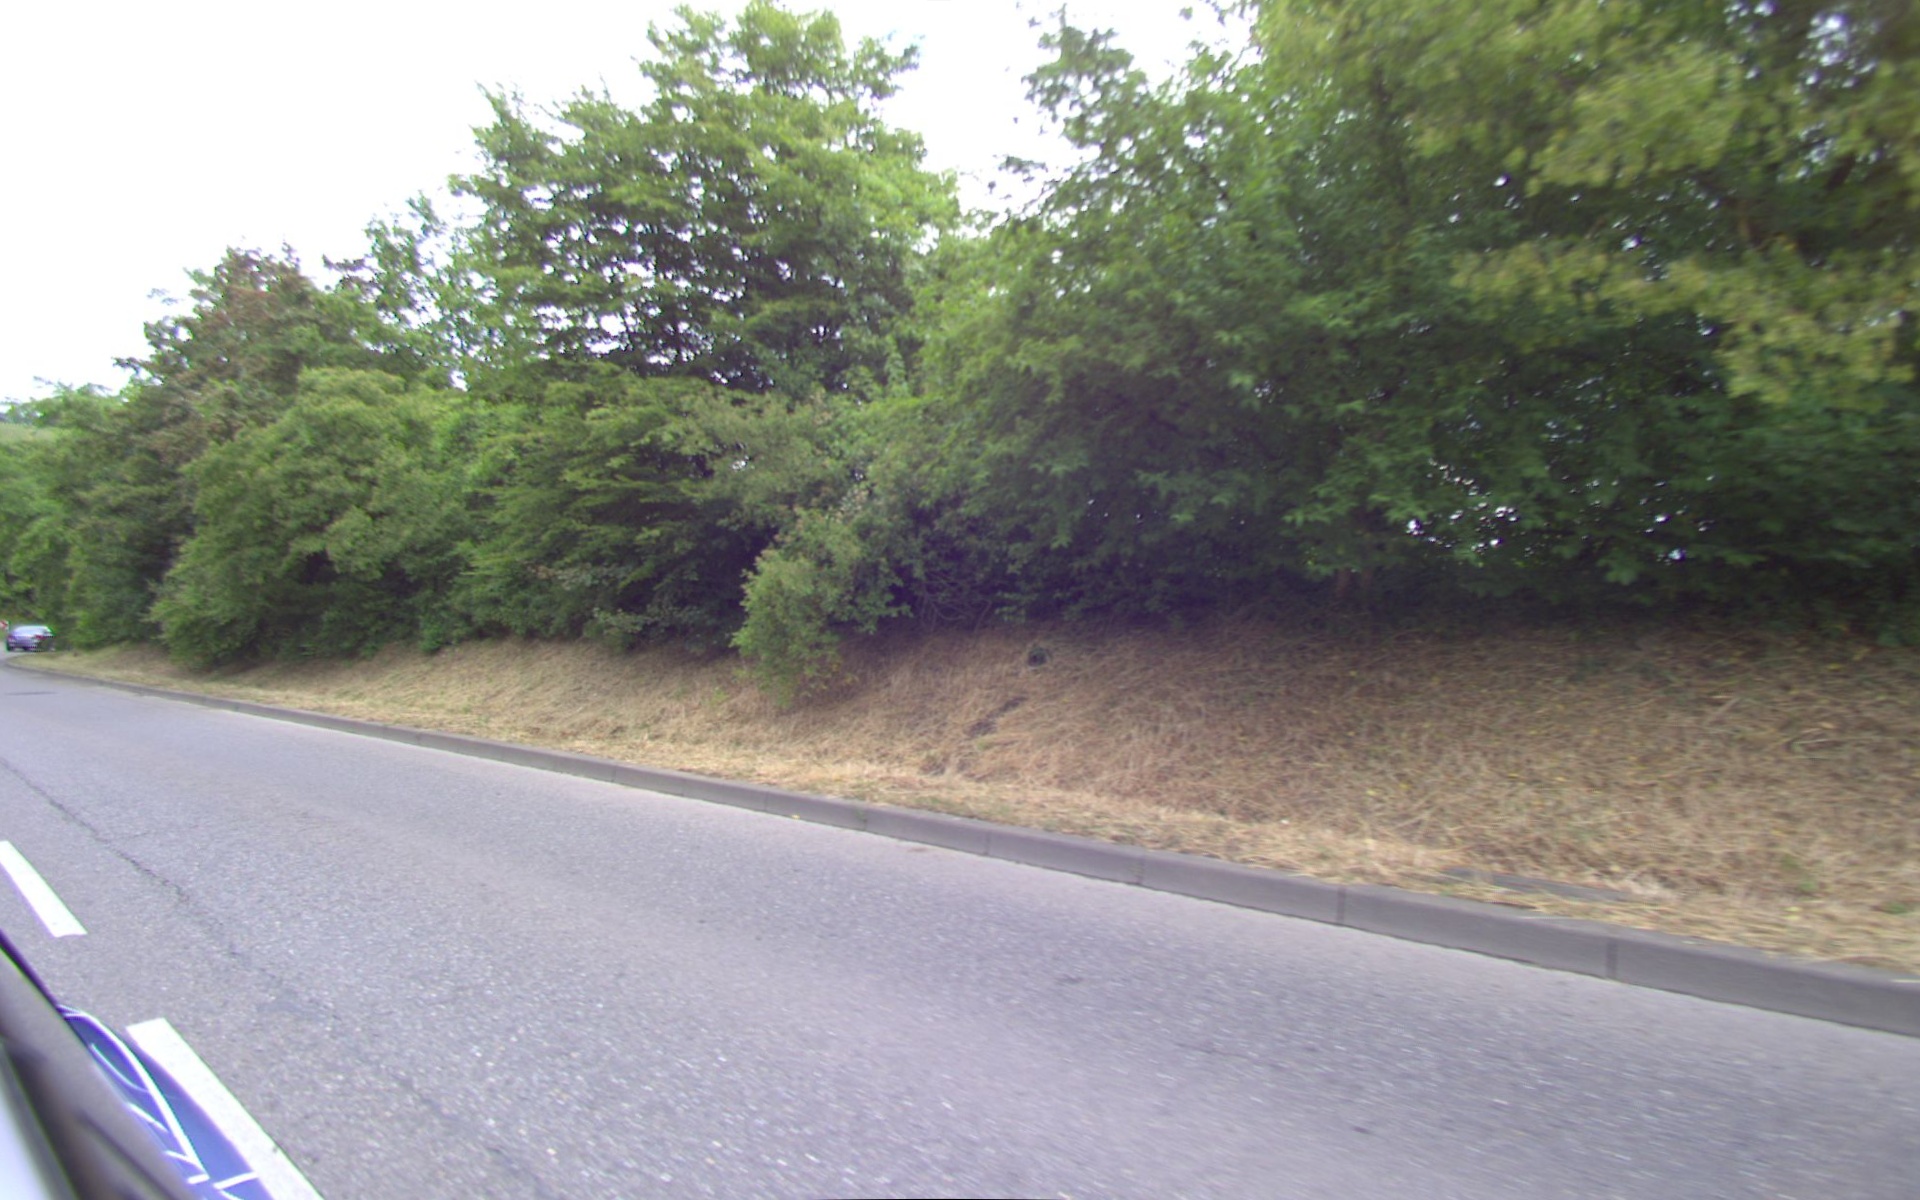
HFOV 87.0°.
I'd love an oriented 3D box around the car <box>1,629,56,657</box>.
[{"bbox_3d":[-52.519,2.369,57.137,1.807,1.416,4.442,-1,0,-36],"label":"car"}]
